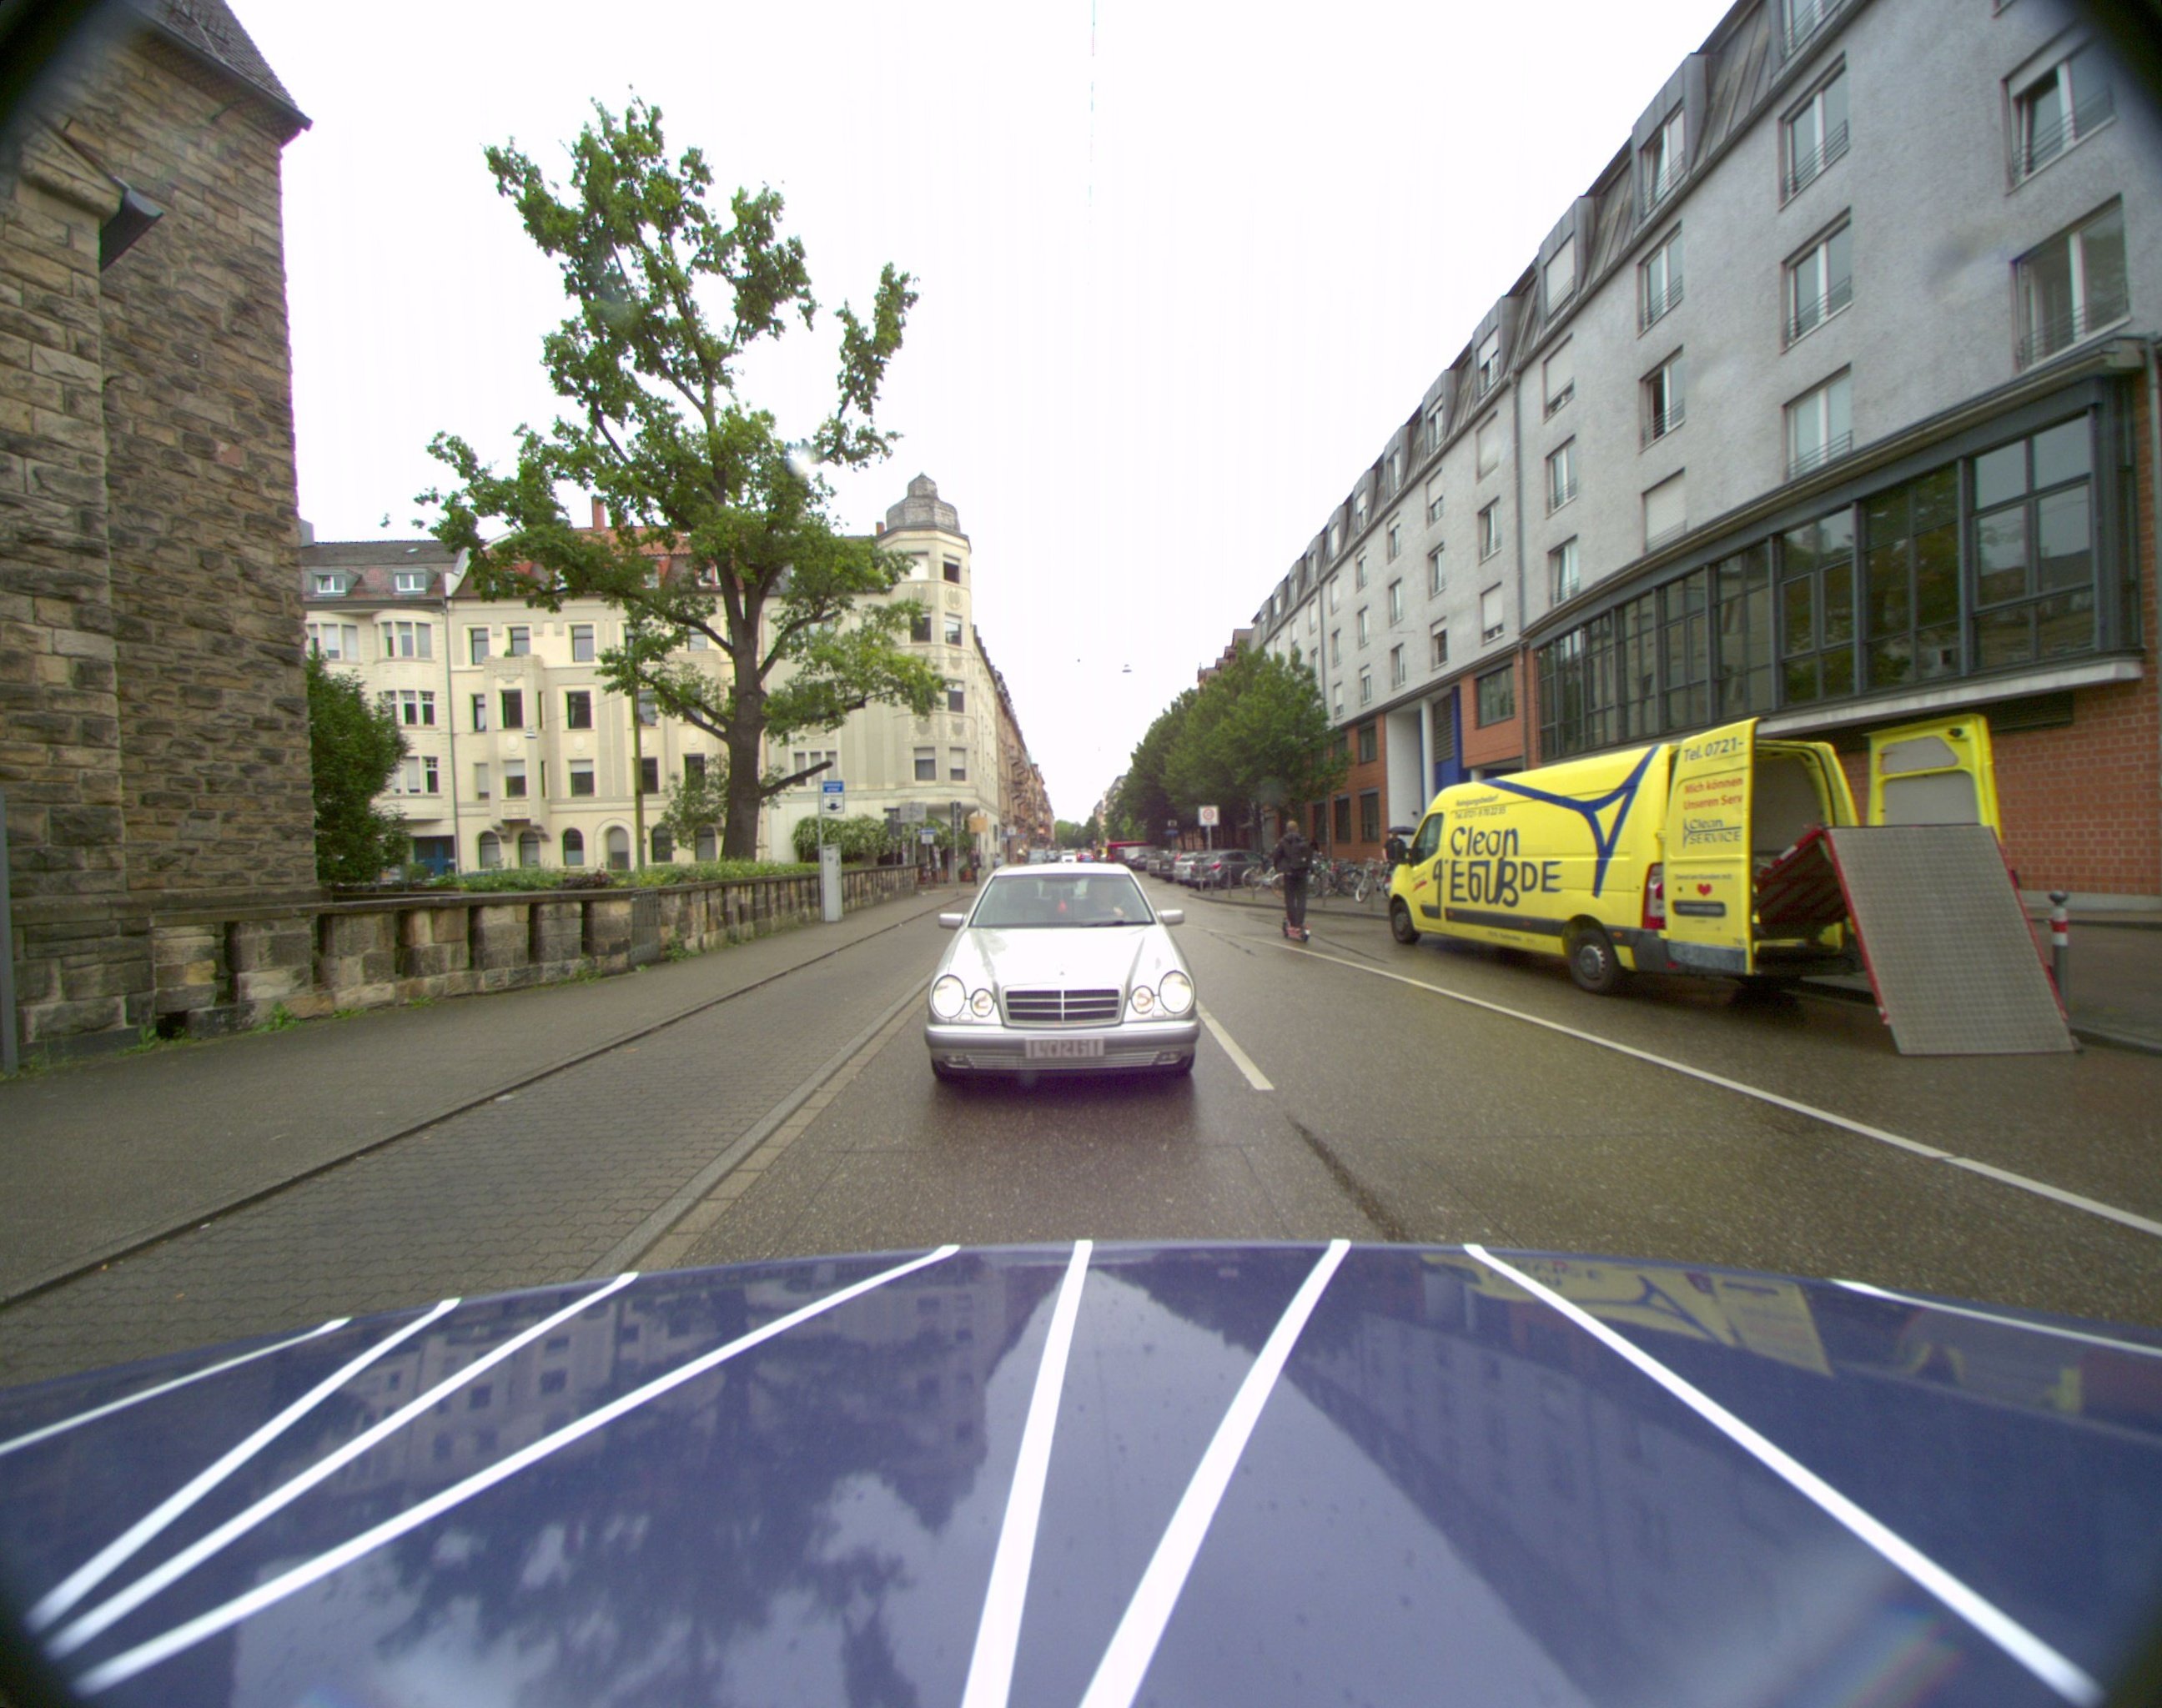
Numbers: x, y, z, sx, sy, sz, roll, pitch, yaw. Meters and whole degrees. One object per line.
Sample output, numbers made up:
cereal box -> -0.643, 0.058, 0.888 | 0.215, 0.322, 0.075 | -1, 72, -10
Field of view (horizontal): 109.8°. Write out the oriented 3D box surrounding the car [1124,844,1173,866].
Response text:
car -> 5.981, 0.078, 67.153 | 4.338, 1.884, 1.685 | -1, 1, -41

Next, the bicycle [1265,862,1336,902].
bicycle -> 6.132, 0.775, 21.246 | 1.800, 0.987, 0.520 | -3, 1, -2

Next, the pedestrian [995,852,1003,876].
pedestrian -> -5.173, 0.629, 47.868 | 0.482, 1.452, 0.392 | -1, 1, 0

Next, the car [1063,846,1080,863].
car -> -1.128, 0.082, 93.078 | 1.998, 2.002, 4.000 | -1, 1, 1

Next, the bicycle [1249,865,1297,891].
bicycle -> 6.565, 0.808, 26.009 | 1.473, 0.800, 0.497 | -3, 1, 3

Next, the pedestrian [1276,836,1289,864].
pedestrian -> 11.665, -0.208, 43.909 | 0.605, 1.601, 0.372 | -2, 1, -1

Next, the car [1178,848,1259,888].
car -> 5.794, 0.565, 31.981 | 3.083, 1.494, 1.449 | -3, 1, -31

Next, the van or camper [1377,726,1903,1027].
van or camper -> 6.043, 0.183, 9.590 | 2.201, 2.596, 5.941 | -1, 0, -1

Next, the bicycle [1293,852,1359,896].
bicycle -> 7.257, 0.581, 22.545 | 1.815, 1.187, 0.519 | -3, 1, -13

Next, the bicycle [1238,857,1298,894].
bicycle -> 6.121, 0.700, 24.918 | 1.812, 1.099, 0.472 | -3, 1, -5

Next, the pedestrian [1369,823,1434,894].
pedestrian -> 9.157, 0.127, 21.743 | 1.228, 1.870, 1.055 | -6, 1, 0

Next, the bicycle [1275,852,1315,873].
bicycle -> 10.606, 0.410, 37.631 | 1.851, 0.979, 0.445 | -2, 1, -8

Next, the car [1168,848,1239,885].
car -> 5.604, 0.559, 34.590 | 3.084, 1.494, 1.449 | -3, 1, -40

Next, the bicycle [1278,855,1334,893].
bicycle -> 7.239, 0.631, 24.441 | 1.610, 1.099, 0.520 | -3, 1, -5

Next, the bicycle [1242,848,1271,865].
bicycle -> 10.646, 0.147, 46.108 | 1.590, 0.979, 0.465 | -2, 1, -8

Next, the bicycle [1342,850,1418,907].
bicycle -> 7.451, 0.591, 18.905 | 1.922, 1.209, 0.768 | -6, 3, -35

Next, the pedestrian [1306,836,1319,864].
pedestrian -> 12.957, -0.228, 42.458 | 0.516, 1.521, 0.548 | -1, 1, -3

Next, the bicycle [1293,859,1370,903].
bicycle -> 6.711, 0.727, 20.409 | 1.858, 1.067, 0.609 | -3, 1, 5

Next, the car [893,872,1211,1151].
car -> -0.164, 0.941, 6.315 | 1.764, 1.420, 3.999 | -2, 0, 0

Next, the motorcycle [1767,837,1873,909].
motorcycle -> 13.069, 0.306, 13.510 | 0.524, 1.174, 2.006 | -3, 1, 19

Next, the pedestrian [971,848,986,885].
pedestrian -> -5.250, 0.641, 38.863 | 0.646, 1.862, 0.693 | -1, 1, 0

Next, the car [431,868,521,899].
car -> -29.664, 1.438, 37.326 | 3.270, 1.401, 1.448 | -1, 1, 3

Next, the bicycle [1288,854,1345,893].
bicycle -> 7.377, 0.604, 23.793 | 1.611, 1.099, 0.519 | -3, 1, -13

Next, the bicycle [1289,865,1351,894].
bicycle -> 7.276, 0.772, 23.137 | 1.773, 0.757, 0.456 | -3, 1, -13

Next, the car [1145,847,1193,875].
car -> 5.334, 0.420, 45.971 | 2.685, 1.546, 1.148 | -3, 1, -29

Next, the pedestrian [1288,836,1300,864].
pedestrian -> 12.169, -0.247, 43.466 | 0.514, 1.601, 0.425 | -2, 1, 1

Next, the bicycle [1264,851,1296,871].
bicycle -> 10.470, 0.369, 40.019 | 1.590, 0.979, 0.445 | -2, 1, -8

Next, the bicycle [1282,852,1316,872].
bicycle -> 11.102, 0.385, 38.648 | 1.590, 0.979, 0.445 | -2, 1, -8

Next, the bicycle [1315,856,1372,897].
bicycle -> 7.474, 0.636, 21.687 | 1.461, 1.096, 0.462 | -3, 1, 14

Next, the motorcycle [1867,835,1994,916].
motorcycle -> 13.315, 0.298, 11.973 | 0.524, 1.174, 1.760 | -3, 1, 19

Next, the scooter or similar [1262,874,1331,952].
scooter or similar -> 3.561, 0.947, 12.638 | 0.702, 1.158, 1.385 | -1, 1, -2

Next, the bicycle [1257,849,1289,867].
bicycle -> 10.563, 0.224, 41.803 | 1.590, 0.979, 0.465 | -2, 1, -8

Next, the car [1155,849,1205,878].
car -> 5.315, 0.510, 40.706 | 2.506, 1.442, 1.191 | -3, 1, -40

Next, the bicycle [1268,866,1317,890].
bicycle -> 7.042, 0.803, 25.382 | 1.473, 0.717, 0.497 | -3, 1, 3

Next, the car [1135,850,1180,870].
car -> 6.133, 0.455, 60.408 | 1.685, 1.482, 3.799 | 0, 1, 40

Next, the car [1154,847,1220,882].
car -> 5.243, 0.515, 37.474 | 3.084, 1.543, 1.449 | -3, 1, -40

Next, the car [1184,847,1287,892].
car -> 5.919, 0.563, 29.054 | 3.629, 1.494, 1.736 | -3, 2, -31

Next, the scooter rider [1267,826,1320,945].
scooter rider -> 3.547, 0.514, 12.698 | 0.712, 1.924, 0.503 | -1, 1, -2

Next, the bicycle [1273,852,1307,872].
bicycle -> 10.478, 0.405, 38.104 | 1.590, 0.979, 0.445 | -2, 1, -8

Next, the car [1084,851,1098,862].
car -> 1.300, 0.299, 98.165 | 1.651, 1.301, 3.311 | -1, 0, -3

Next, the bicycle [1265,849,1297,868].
bicycle -> 10.680, 0.242, 40.638 | 1.590, 0.979, 0.445 | -2, 1, -8

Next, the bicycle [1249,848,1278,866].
bicycle -> 10.795, 0.166, 44.973 | 1.590, 0.979, 0.465 | -2, 1, -8

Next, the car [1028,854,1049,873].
car -> -3.135, 0.671, 56.435 | 1.447, 1.348, 3.204 | -1, 0, 0

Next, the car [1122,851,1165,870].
car -> 5.195, 0.486, 62.923 | 1.685, 1.482, 3.799 | 0, 1, 40

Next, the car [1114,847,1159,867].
car -> 5.193, 0.267, 70.667 | 4.338, 1.822, 1.571 | -1, 1, -41

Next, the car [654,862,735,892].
car -> -19.229, 1.139, 37.875 | 3.270, 1.401, 1.448 | -1, 1, 3

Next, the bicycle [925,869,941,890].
bicycle -> -7.310, 1.264, 37.669 | 0.390, 0.888, 2.023 | -1, 3, 0

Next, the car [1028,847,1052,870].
car -> -3.305, 0.355, 61.504 | 1.726, 1.794, 3.462 | -1, 0, 0

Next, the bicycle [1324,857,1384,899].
bicycle -> 7.498, 0.659, 20.913 | 1.462, 1.058, 0.418 | -3, 1, 4

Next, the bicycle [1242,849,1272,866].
bicycle -> 10.210, 0.194, 44.078 | 1.590, 0.979, 0.465 | -2, 1, -8

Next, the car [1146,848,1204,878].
car -> 5.363, 0.488, 43.214 | 2.985, 1.546, 1.369 | -3, 1, -29

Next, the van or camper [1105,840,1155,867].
van or camper -> 4.969, -0.078, 76.588 | 4.604, 2.597, 1.999 | -1, 1, -27
